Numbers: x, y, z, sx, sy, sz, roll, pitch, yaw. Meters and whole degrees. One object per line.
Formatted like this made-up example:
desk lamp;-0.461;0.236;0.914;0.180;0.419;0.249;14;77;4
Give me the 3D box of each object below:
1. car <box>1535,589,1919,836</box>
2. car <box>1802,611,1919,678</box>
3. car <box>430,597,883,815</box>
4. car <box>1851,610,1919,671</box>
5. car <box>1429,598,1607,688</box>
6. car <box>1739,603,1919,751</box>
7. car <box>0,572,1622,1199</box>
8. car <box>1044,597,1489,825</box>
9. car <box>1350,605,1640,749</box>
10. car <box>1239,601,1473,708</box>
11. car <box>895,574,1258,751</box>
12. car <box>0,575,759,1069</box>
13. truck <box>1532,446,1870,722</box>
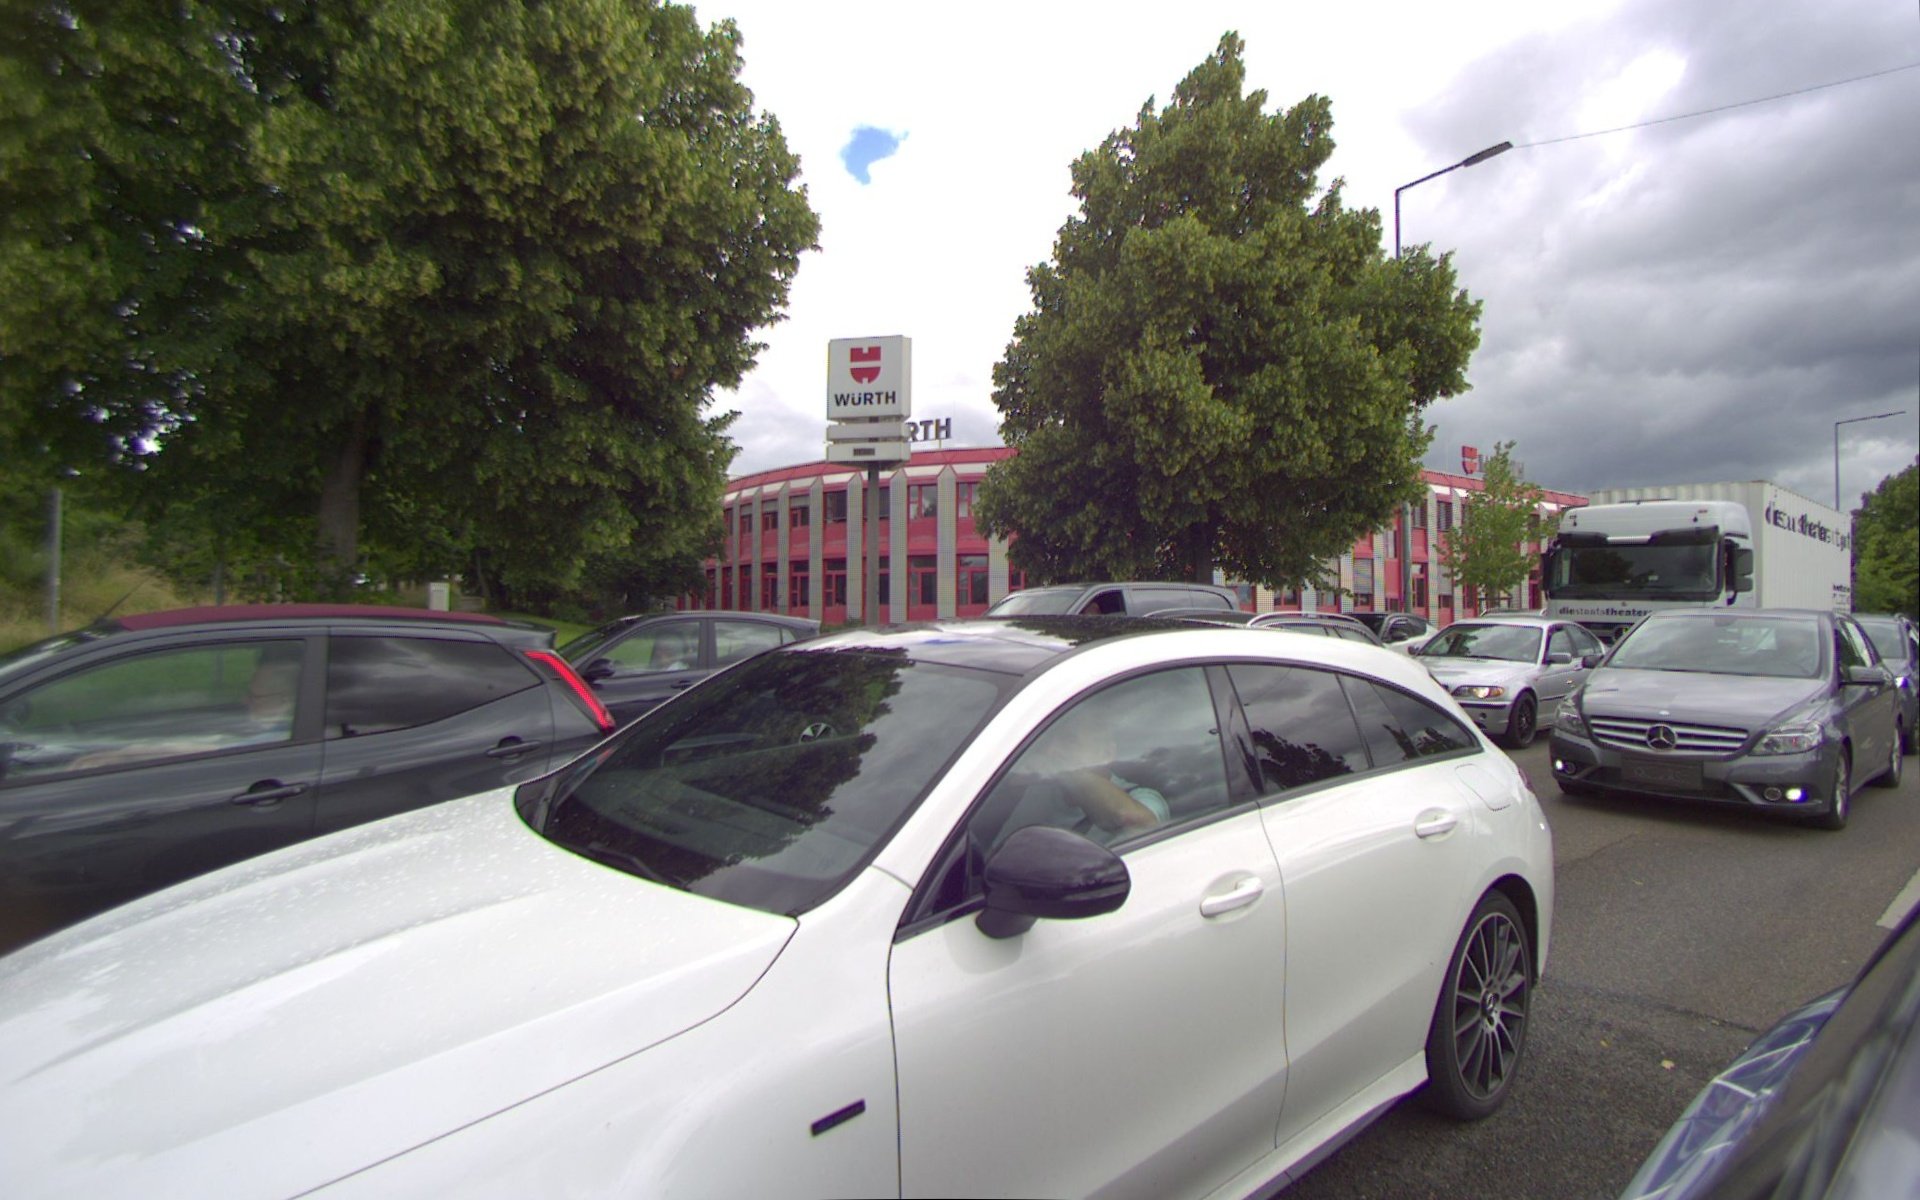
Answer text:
car;6.391;0.726;8.253;3.976;1.527;1.749;1;-1;-41
car;23.214;1.102;25.948;4.299;1.549;1.850;1;-1;-41
car;-2.592;0.749;8.874;3.495;1.525;1.608;-1;0;-34
car;27.184;1.102;28.934;4.140;1.549;1.798;-1;0;-37
car;11.547;0.856;20.853;4.133;1.679;1.863;1;-3;-41
car;10.832;0.824;12.157;3.769;1.512;1.627;1;-1;-41
car;-0.022;0.716;2.764;4.450;1.525;1.848;-1;0;-40
car;2.861;0.742;8.905;4.280;1.504;1.749;-1;0;-41
car;6.663;0.801;12.410;4.215;1.400;1.749;-1;0;-41
car;6.561;0.842;16.595;4.034;1.536;1.842;0;-4;-41
car;1.568;0.606;12.410;4.592;1.797;1.762;-1;0;-40
car;-2.893;0.651;4.081;3.815;1.471;1.615;-1;0;-42
truck;14.142;-0.212;18.835;10.000;3.953;2.808;1;0;-40
